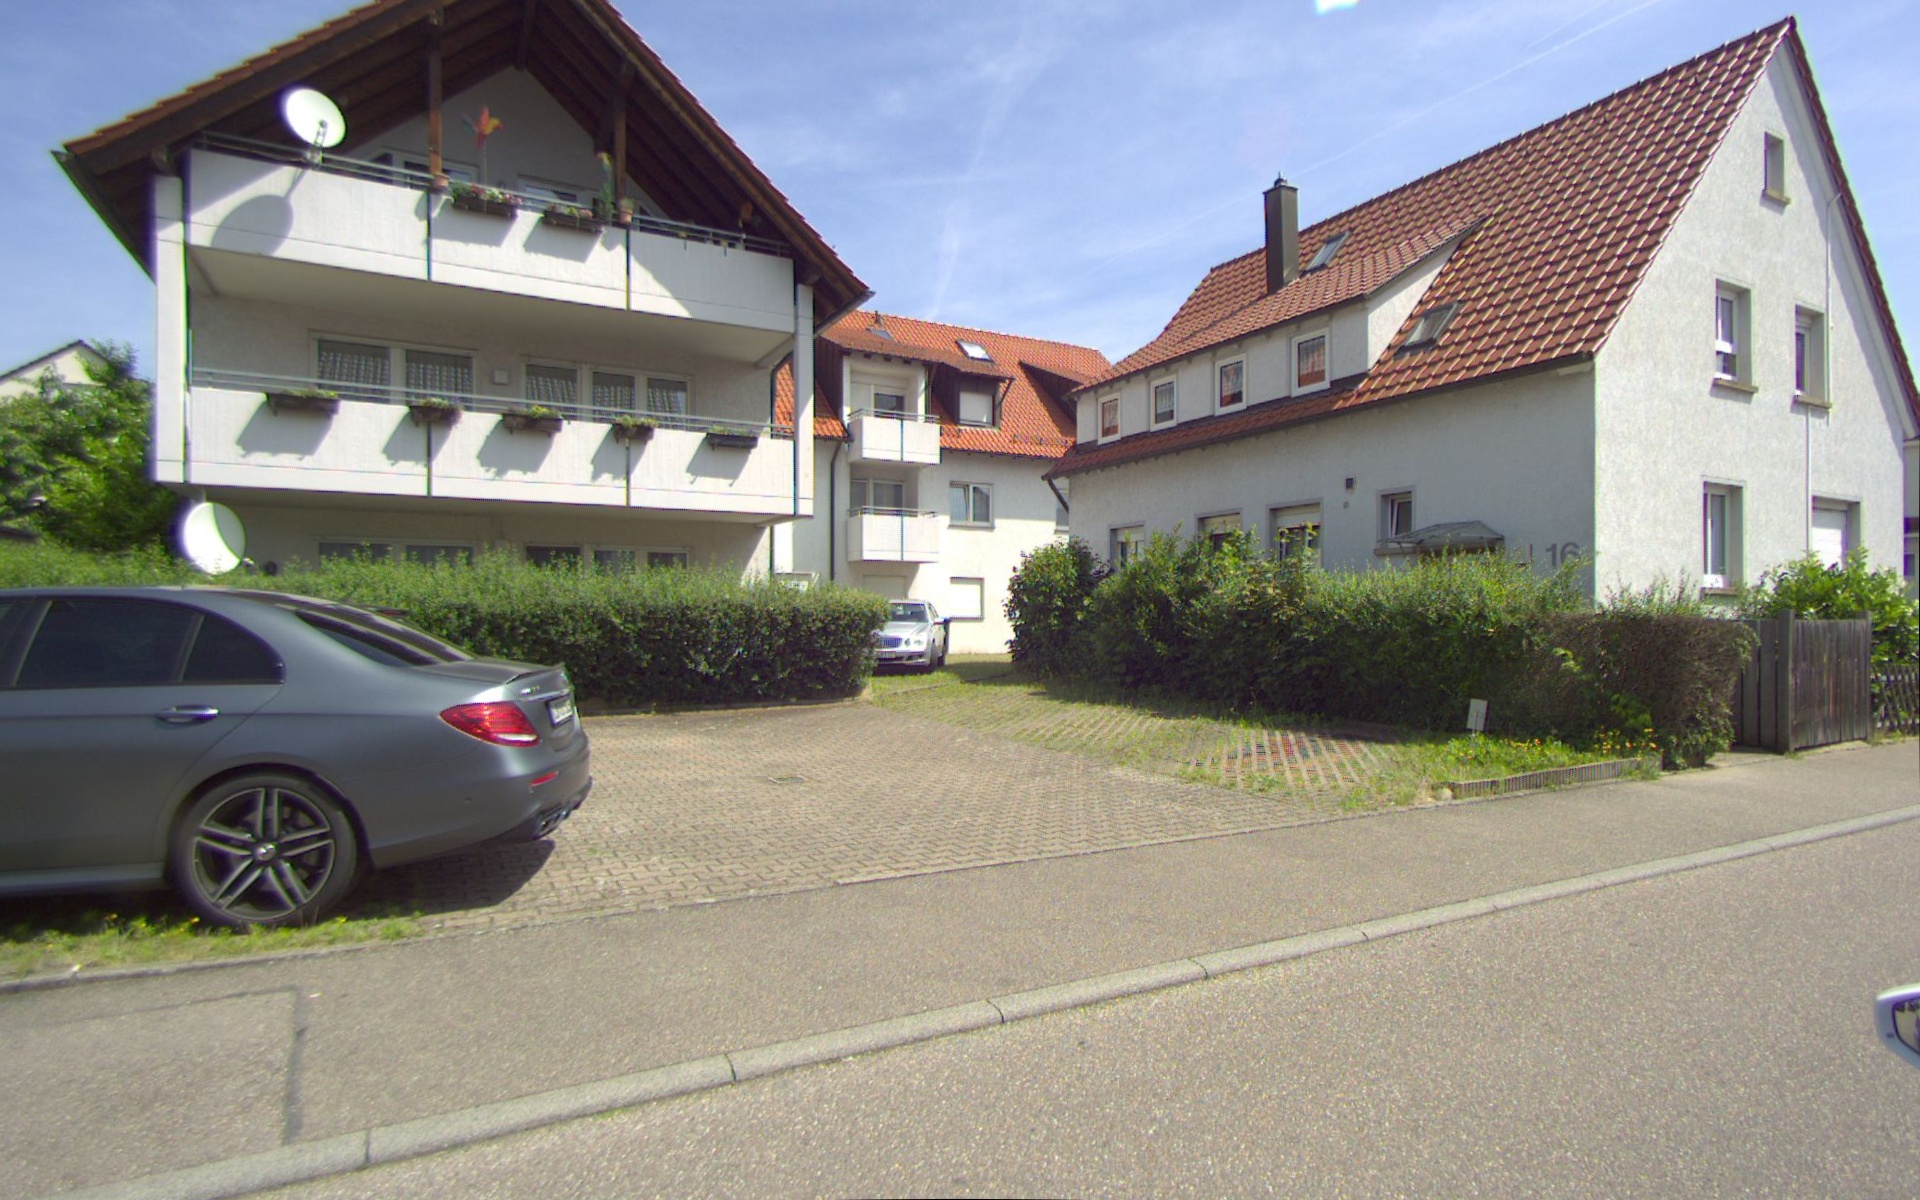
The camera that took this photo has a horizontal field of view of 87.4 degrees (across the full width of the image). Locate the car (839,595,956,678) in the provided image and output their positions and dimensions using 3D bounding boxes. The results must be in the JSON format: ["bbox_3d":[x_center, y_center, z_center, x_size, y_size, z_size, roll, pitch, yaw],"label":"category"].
[{"bbox_3d":[-1.175,0.701,20.762,1.837,1.491,4.277,1,-1,4],"label":"car"}]

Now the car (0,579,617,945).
[{"bbox_3d":[-4.129,0.645,4.844,4.485,1.451,1.828,1,-1,-13],"label":"car"}]

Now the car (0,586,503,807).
[{"bbox_3d":[-5.756,0.687,7.872,3.585,1.521,1.692,1,0,-9],"label":"car"}]
